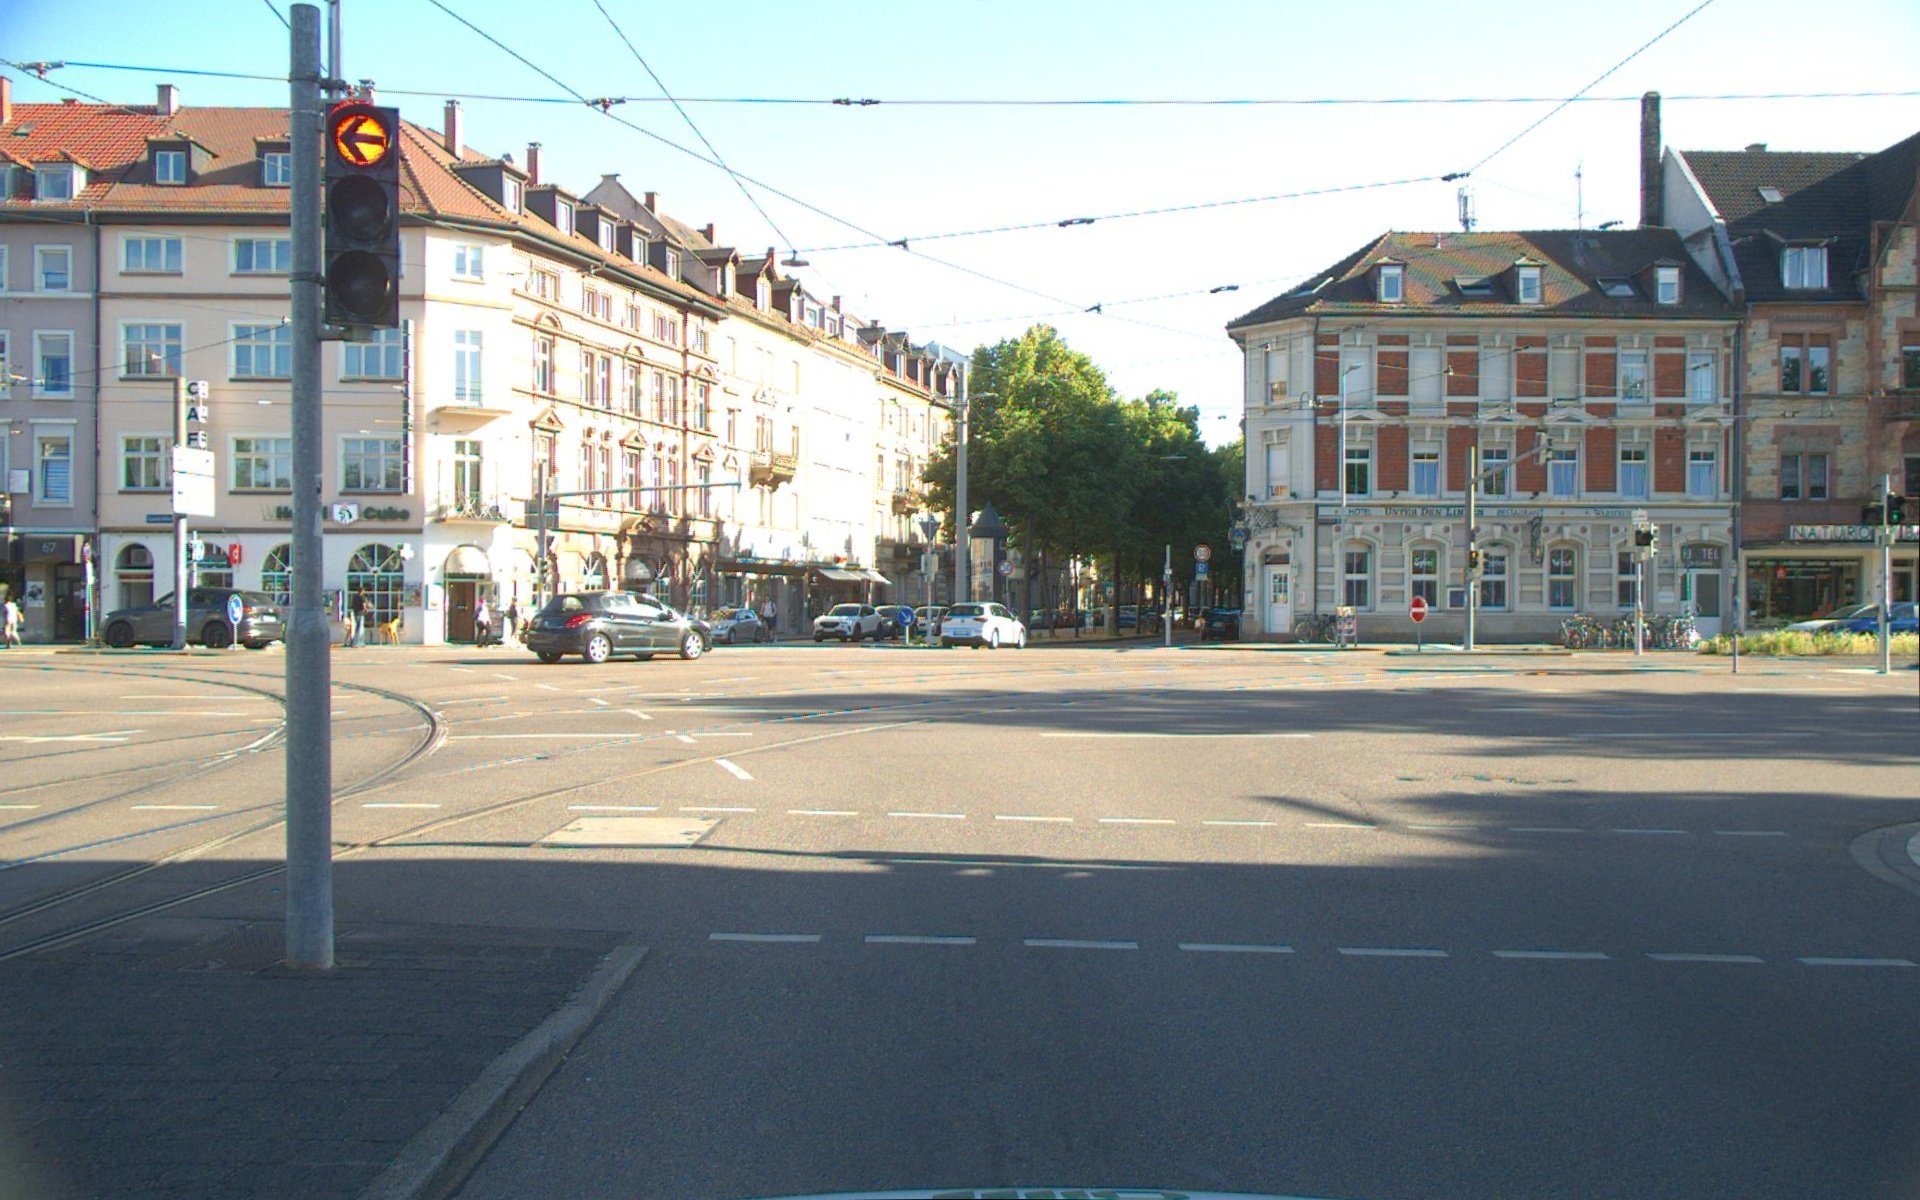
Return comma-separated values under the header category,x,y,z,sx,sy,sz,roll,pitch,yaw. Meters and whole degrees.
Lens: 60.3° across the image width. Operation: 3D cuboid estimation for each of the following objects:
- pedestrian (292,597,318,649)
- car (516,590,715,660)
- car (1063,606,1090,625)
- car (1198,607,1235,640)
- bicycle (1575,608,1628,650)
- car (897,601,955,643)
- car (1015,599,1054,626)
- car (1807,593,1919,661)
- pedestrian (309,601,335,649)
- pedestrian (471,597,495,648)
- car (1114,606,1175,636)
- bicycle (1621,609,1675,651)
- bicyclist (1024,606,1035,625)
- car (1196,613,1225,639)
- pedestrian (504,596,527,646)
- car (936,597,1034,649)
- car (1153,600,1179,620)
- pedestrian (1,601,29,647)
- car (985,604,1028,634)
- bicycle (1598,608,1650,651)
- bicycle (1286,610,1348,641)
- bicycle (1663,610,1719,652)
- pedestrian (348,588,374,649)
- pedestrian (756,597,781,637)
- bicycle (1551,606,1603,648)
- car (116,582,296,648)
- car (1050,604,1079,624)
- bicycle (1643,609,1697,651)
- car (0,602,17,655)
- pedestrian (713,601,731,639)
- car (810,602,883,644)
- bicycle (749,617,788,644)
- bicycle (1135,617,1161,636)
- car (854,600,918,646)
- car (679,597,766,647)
category,x,y,z,sx,sy,sz,roll,pitch,yaw
pedestrian,-20.727,0.720,52.361,0.620,1.640,0.465,1,-1,-5
car,-7.225,0.523,34.947,1.729,1.386,3.831,1,0,42
car,9.619,1.260,136.420,1.526,1.540,3.658,1,0,16
car,12.870,1.143,82.779,1.655,1.592,3.844,1,0,11
bicycle,20.599,0.920,53.131,0.678,1.309,2.661,1,0,0
car,-1.619,1.058,79.787,1.951,1.937,4.003,1,0,11
car,5.560,0.956,122.670,1.951,1.937,4.002,1,0,16
car,25.935,0.748,46.054,3.706,1.809,1.999,1,0,-2
pedestrian,-20.001,0.777,51.849,0.620,1.502,0.465,1,-1,-5
pedestrian,-15.739,0.737,54.570,0.620,1.662,0.700,1,-1,-4
car,12.853,1.452,115.155,3.902,1.937,2.001,1,0,15
bicycle,22.087,0.951,53.155,0.615,1.309,2.661,1,0,0
bicyclist,4.739,1.081,112.577,0.613,1.288,0.559,1,-1,15
car,16.023,1.664,105.737,1.655,1.592,3.844,1,0,11
pedestrian,-15.157,0.719,56.434,0.620,1.662,0.700,1,-1,-4
car,0.838,0.727,52.486,1.736,1.557,3.999,1,0,23
car,16.771,0.820,134.782,1.526,1.540,3.658,1,0,16
pedestrian,-31.152,0.778,54.541,0.620,1.502,0.465,1,-1,-5
car,3.182,1.276,112.740,1.951,1.937,4.002,1,0,16
bicycle,21.310,0.928,53.152,0.615,1.309,2.661,1,0,0
bicycle,12.354,0.886,57.275,2.006,1.015,0.631,1,0,2
bicycle,23.486,0.975,53.177,0.615,1.309,2.661,1,0,0
pedestrian,-18.992,0.590,52.462,0.620,1.914,0.465,1,-1,-5
pedestrian,-7.538,0.659,65.090,0.803,1.539,0.598,1,-1,14
bicycle,19.800,0.842,53.102,0.678,1.309,2.661,1,0,0
car,-20.159,0.394,44.282,4.077,1.646,1.955,1,0,16
car,8.371,1.119,131.762,1.526,1.540,3.658,1,0,16
bicycle,22.802,0.956,53.179,0.615,1.309,2.661,1,0,0
car,-32.383,0.908,52.431,3.902,1.699,2.002,0,0,8
pedestrian,-10.451,0.874,72.552,0.532,1.660,0.707,1,-1,13
car,-4.577,0.921,67.141,1.951,1.646,4.003,1,0,11
bicycle,-7.526,1.198,65.161,0.746,1.025,2.398,1,0,13
bicycle,11.284,1.560,99.226,0.619,1.104,1.685,1,0,-31
car,-3.261,1.004,73.581,1.951,1.937,4.003,1,0,11
car,-9.565,0.868,66.961,1.951,1.937,4.002,1,0,17
